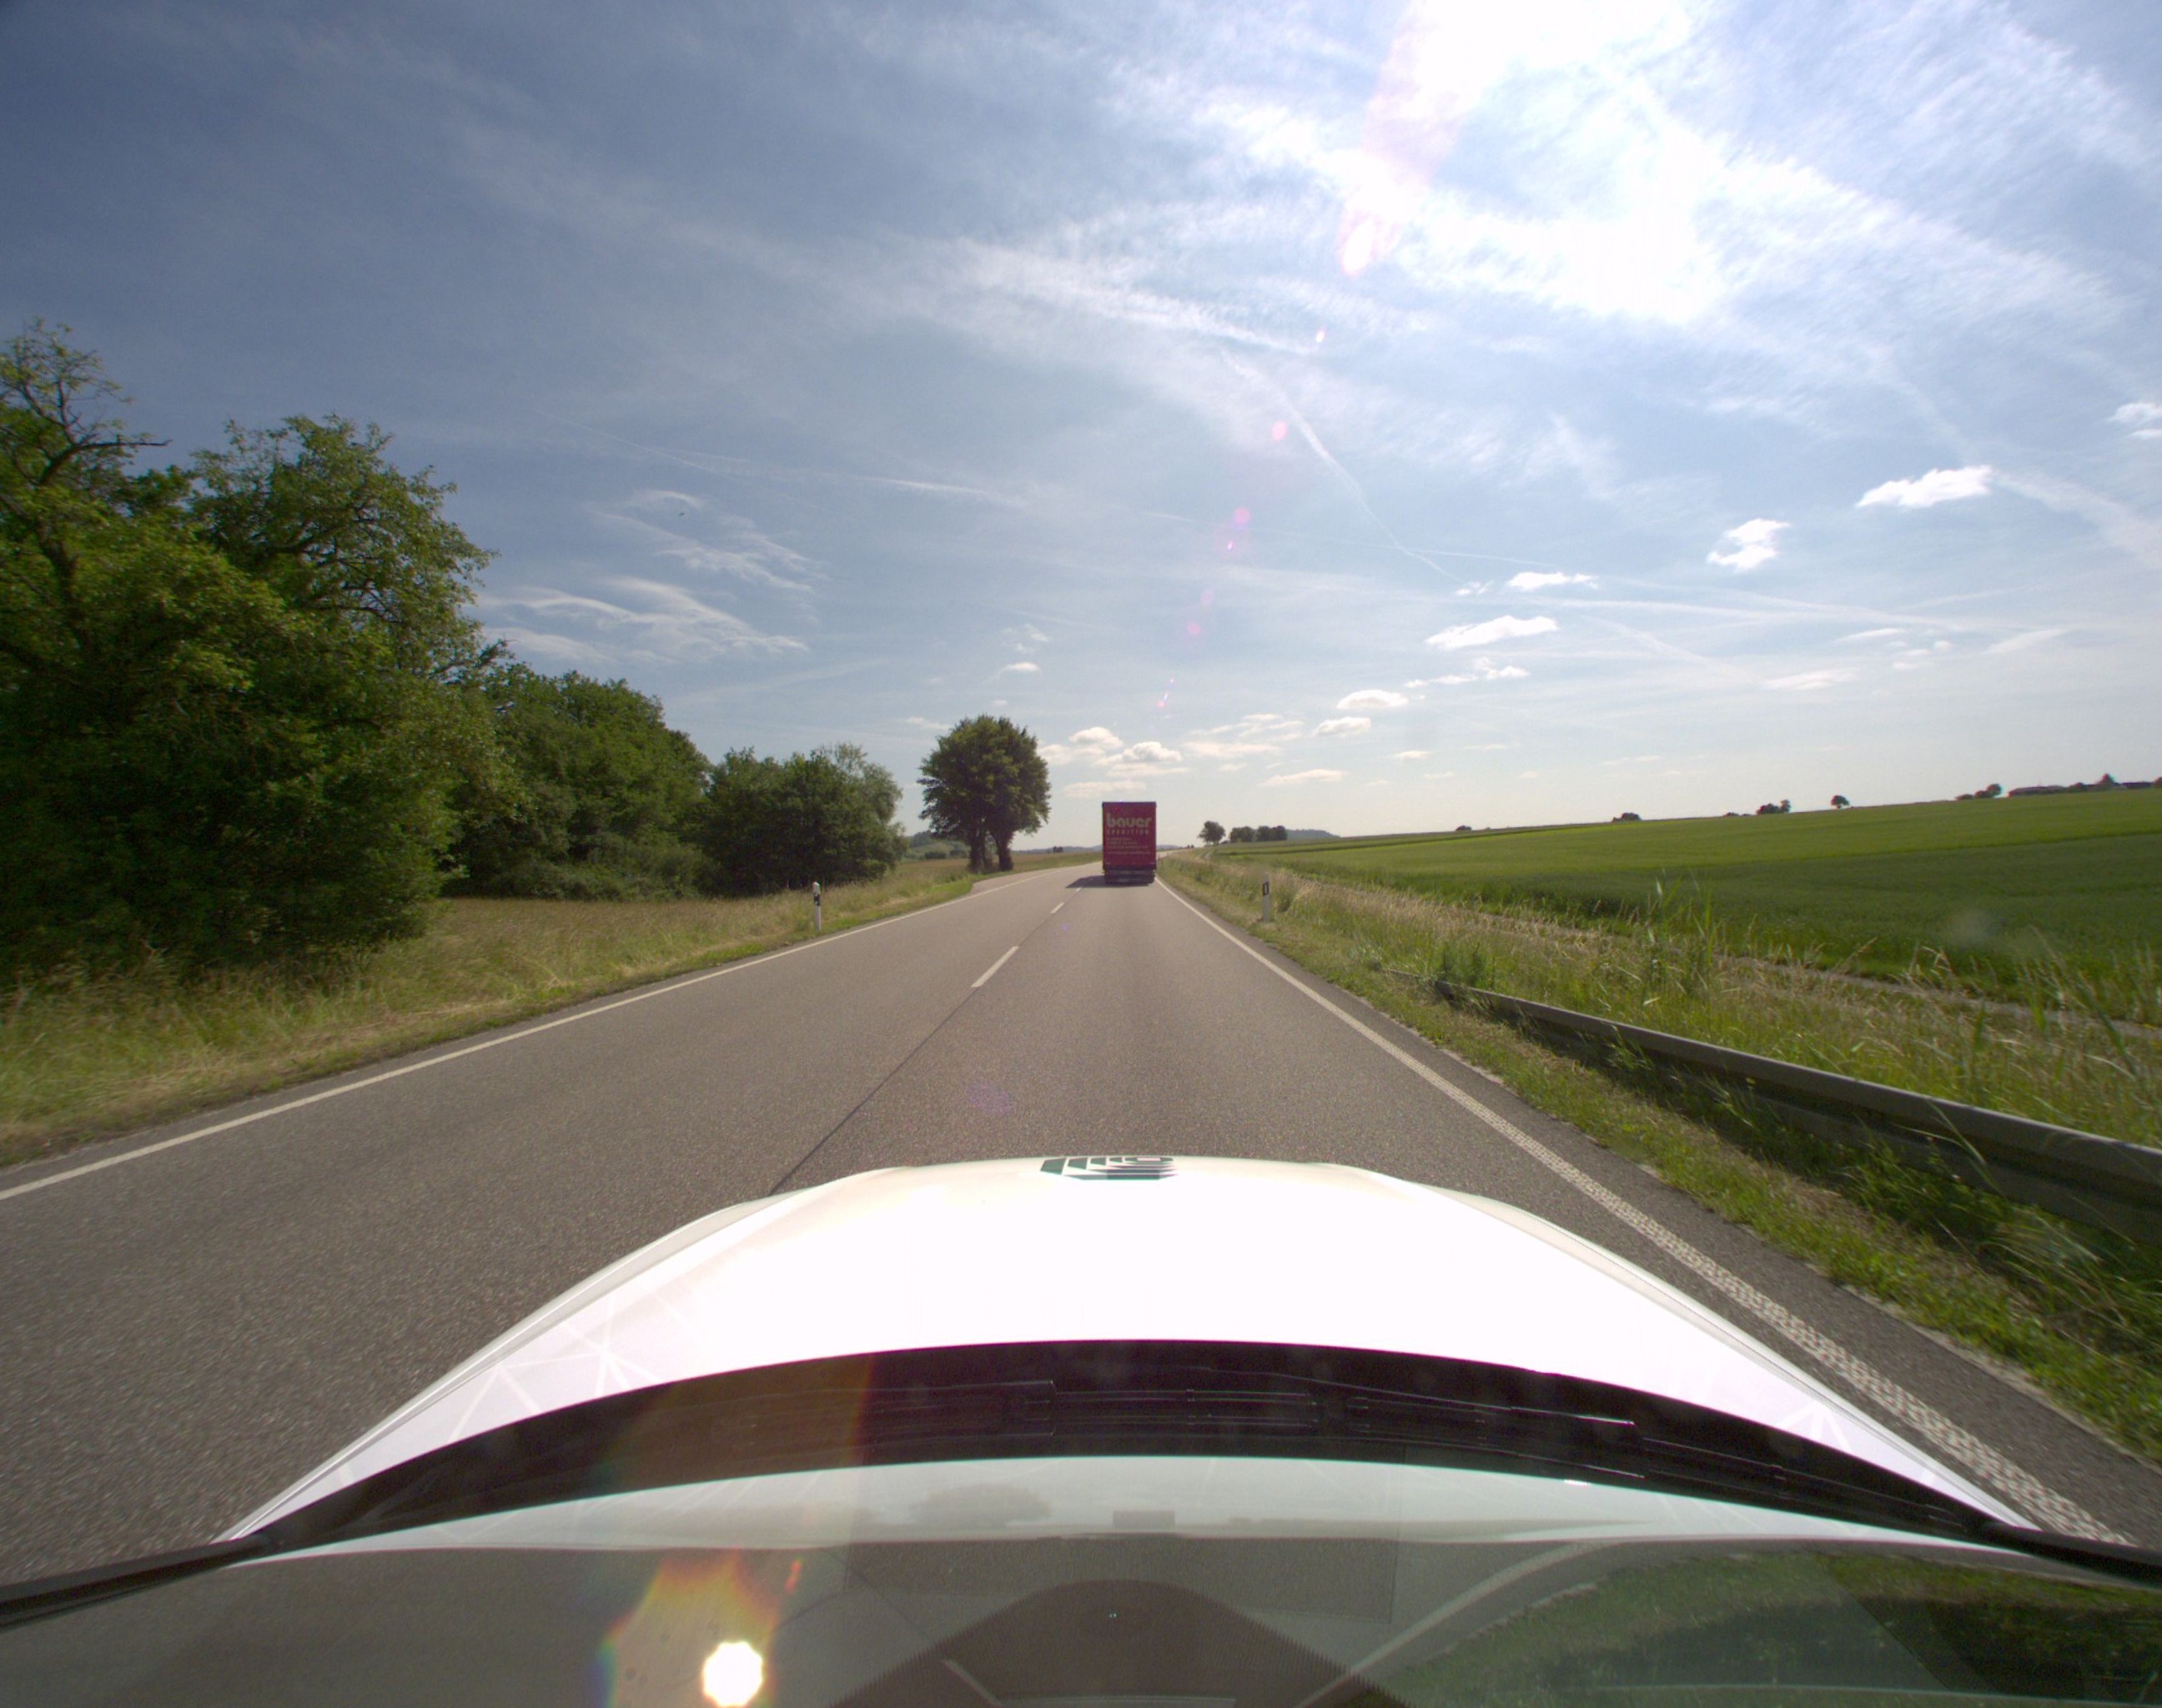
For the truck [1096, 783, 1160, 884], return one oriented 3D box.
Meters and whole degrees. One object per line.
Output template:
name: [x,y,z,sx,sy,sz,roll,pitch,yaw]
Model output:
truck: [2.284,-0.907,42.517,2.964,4.713,9.367,0,-1,1]
